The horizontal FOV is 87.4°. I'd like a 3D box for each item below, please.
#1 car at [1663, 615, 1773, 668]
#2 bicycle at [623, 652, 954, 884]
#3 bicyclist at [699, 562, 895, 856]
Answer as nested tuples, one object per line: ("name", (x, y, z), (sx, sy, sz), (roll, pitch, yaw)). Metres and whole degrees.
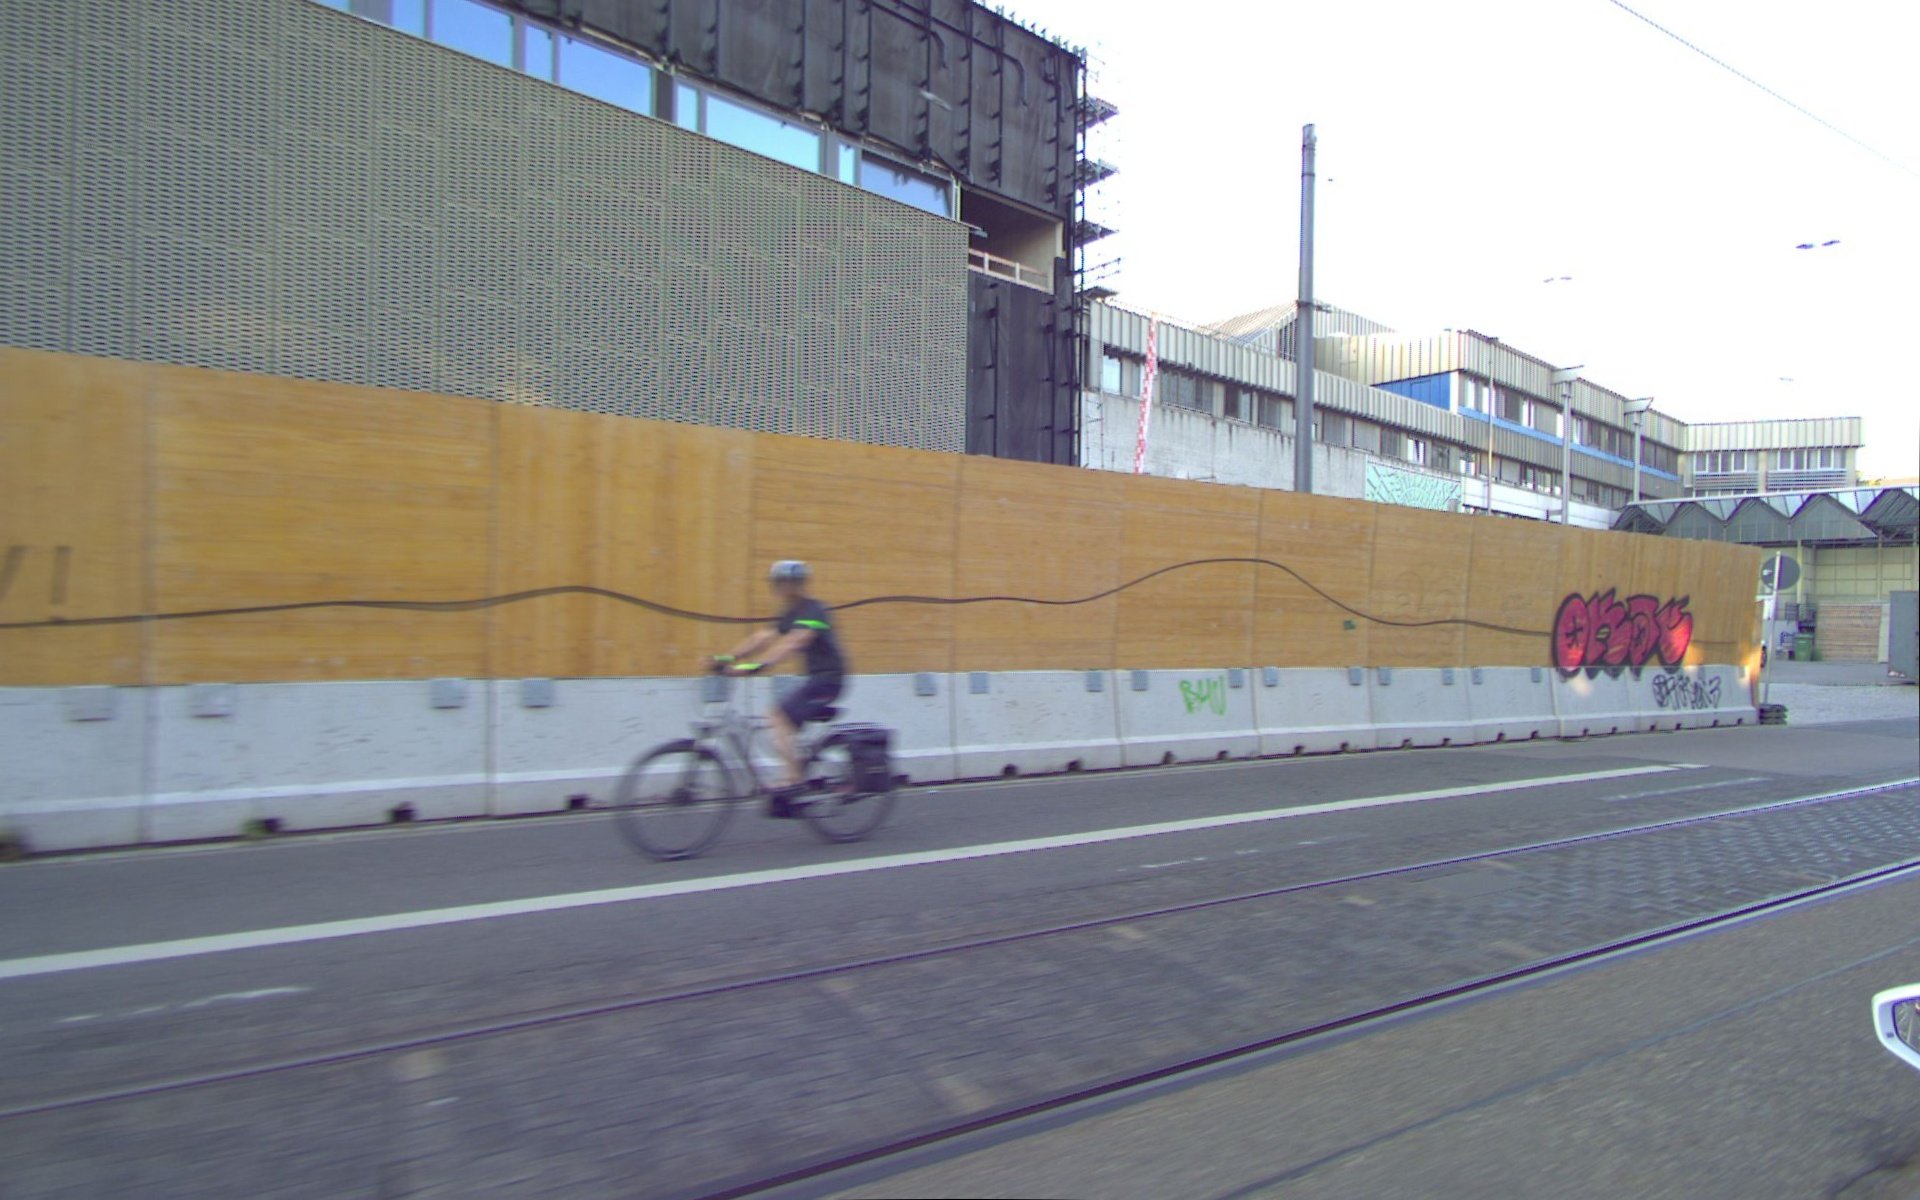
("car", (26.373, 1.432, 34.902), (4.241, 1.686, 1.979), (2, 0, -37))
("bicycle", (-1.058, 0.968, 6.349), (1.913, 1.244, 0.764), (1, -1, -30))
("bicyclist", (-1.037, 0.639, 6.354), (1.006, 1.687, 0.764), (1, -1, -30))
